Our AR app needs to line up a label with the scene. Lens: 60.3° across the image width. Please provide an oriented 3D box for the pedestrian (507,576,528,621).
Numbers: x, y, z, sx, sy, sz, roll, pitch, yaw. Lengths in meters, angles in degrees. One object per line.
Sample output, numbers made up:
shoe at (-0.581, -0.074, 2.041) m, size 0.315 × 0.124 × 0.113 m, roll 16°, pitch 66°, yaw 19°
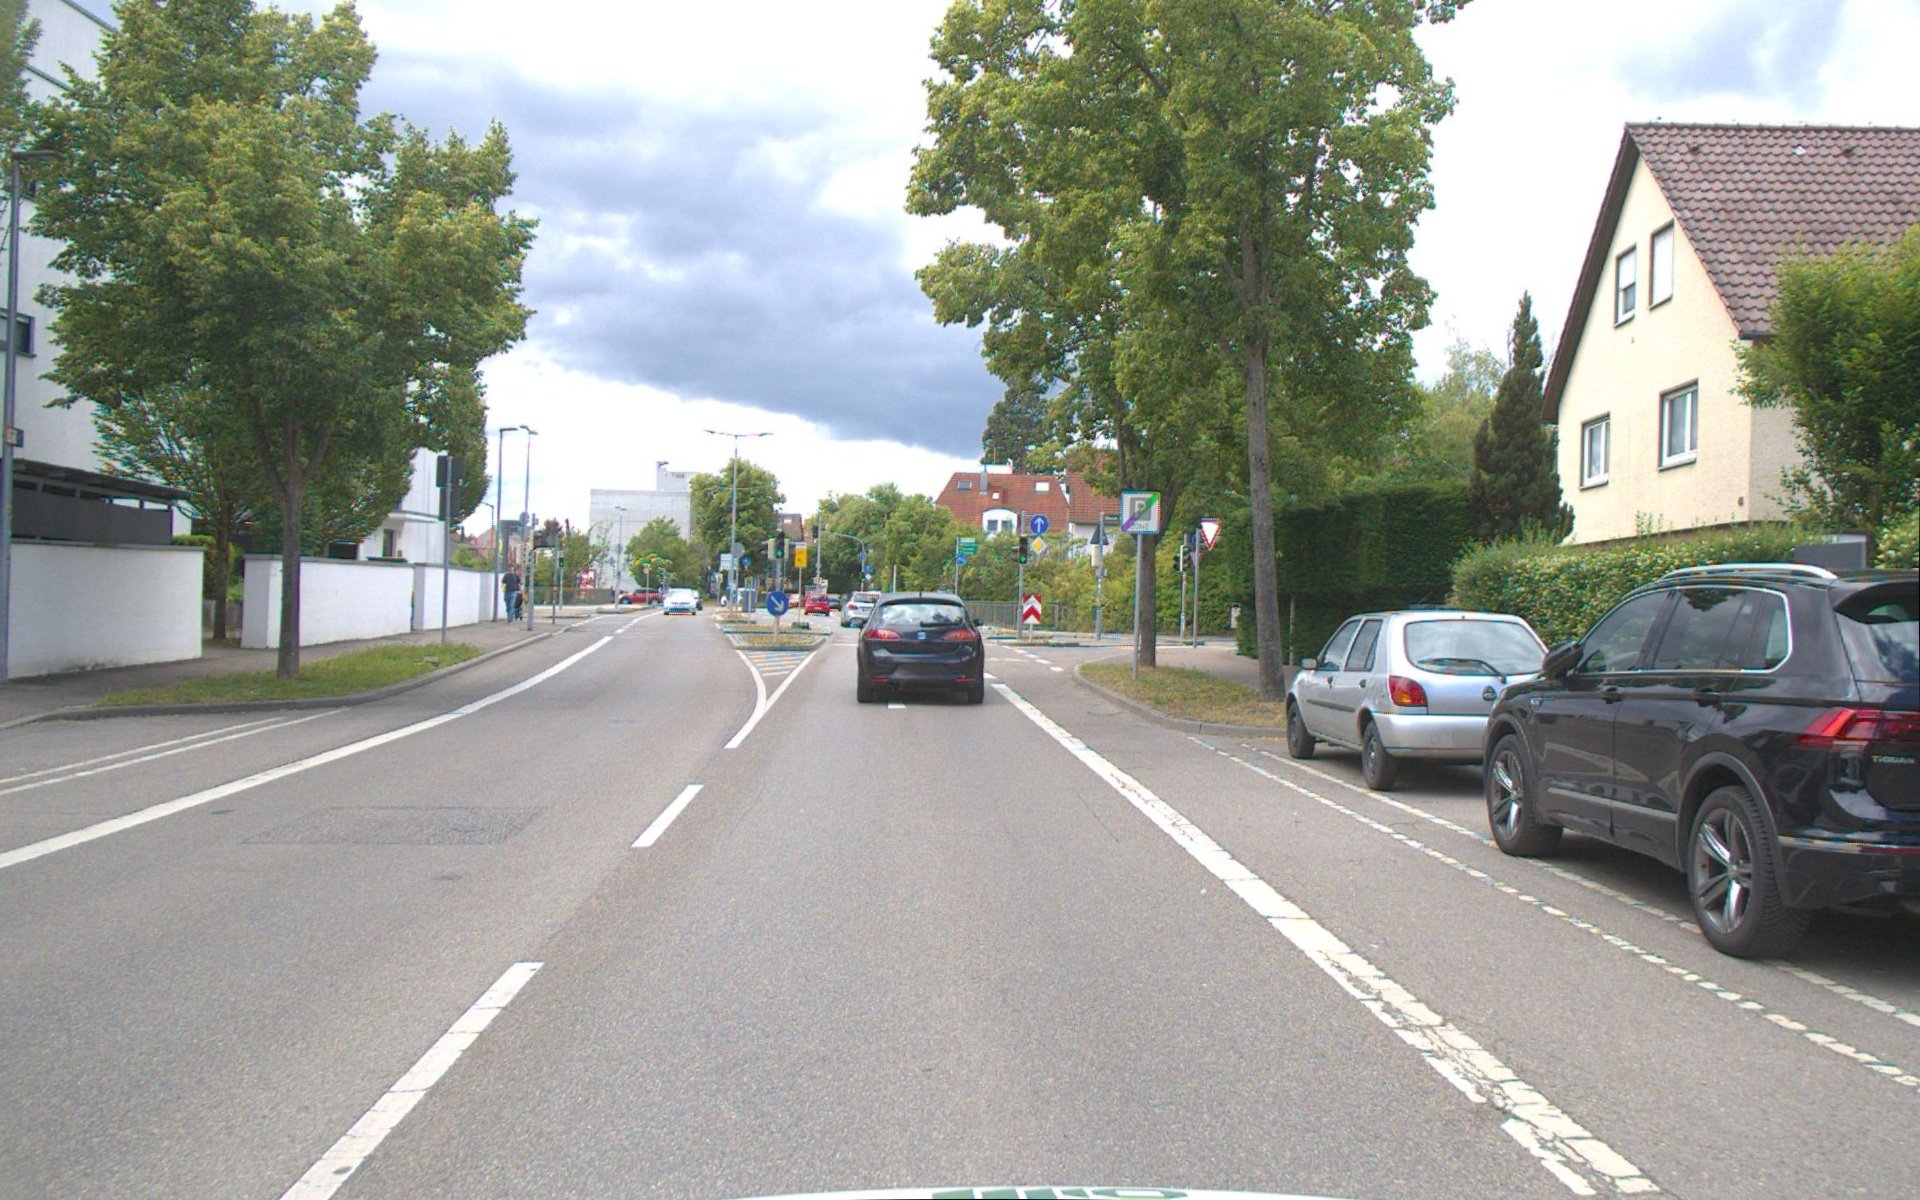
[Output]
pedestrian at (-16.155, -0.055, 60.410) m, size 0.522 × 1.569 × 0.730 m, roll 6°, pitch -1°, yaw -10°

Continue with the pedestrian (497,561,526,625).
pedestrian at (-14.252, -0.231, 52.570) m, size 0.636 × 1.981 × 0.870 m, roll 4°, pitch -1°, yaw -8°

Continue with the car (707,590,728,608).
car at (-20.263, -0.080, 138.174) m, size 1.613 × 1.433 × 3.810 m, roll 2°, pitch 0°, yaw -10°

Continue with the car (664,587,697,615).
car at (-15.482, 0.071, 91.695) m, size 1.765 × 1.469 × 3.939 m, roll 1°, pitch 0°, yaw -10°

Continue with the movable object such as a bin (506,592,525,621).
movable object such as a bin at (-16.028, 0.233, 59.608) m, size 0.488 × 0.976 × 0.984 m, roll 6°, pitch -1°, yaw -10°

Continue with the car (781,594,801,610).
car at (-16.520, 0.158, 161.320) m, size 1.689 × 1.473 × 4.057 m, roll 2°, pitch 0°, yaw -10°

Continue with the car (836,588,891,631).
car at (-4.074, 0.368, 69.320) m, size 1.786 × 1.729 × 4.242 m, roll 1°, pitch 0°, yaw -11°

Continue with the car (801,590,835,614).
car at (-9.445, 0.119, 110.032) m, size 1.906 × 1.507 × 4.243 m, roll 1°, pitch 0°, yaw -10°

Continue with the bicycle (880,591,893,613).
bicycle at (-5.084, 0.128, 114.749) m, size 0.873 × 1.537 × 2.782 m, roll 1°, pitch 0°, yaw -3°

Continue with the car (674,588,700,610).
car at (-18.907, -0.091, 114.394) m, size 1.689 × 1.415 × 3.909 m, roll 3°, pitch -1°, yaw -10°

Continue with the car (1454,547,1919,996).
car at (4.122, 0.638, 8.443) m, size 1.730 × 1.664 × 4.546 m, roll 1°, pitch 0°, yaw -1°

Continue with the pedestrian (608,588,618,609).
pedestrian at (-28.029, -0.128, 133.548) m, size 0.645 × 1.662 × 1.067 m, roll 3°, pitch -1°, yaw -14°

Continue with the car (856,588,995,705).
car at (-0.557, 0.583, 23.023) m, size 1.725 × 1.474 × 3.711 m, roll 1°, pitch 0°, yaw -4°

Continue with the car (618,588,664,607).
car at (-28.971, -0.204, 150.215) m, size 3.922 × 1.579 × 1.742 m, roll 1°, pitch 0°, yaw -16°

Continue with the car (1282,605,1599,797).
car at (3.902, 0.750, 14.012) m, size 1.526 × 1.374 × 3.538 m, roll 0°, pitch 1°, yaw -3°
